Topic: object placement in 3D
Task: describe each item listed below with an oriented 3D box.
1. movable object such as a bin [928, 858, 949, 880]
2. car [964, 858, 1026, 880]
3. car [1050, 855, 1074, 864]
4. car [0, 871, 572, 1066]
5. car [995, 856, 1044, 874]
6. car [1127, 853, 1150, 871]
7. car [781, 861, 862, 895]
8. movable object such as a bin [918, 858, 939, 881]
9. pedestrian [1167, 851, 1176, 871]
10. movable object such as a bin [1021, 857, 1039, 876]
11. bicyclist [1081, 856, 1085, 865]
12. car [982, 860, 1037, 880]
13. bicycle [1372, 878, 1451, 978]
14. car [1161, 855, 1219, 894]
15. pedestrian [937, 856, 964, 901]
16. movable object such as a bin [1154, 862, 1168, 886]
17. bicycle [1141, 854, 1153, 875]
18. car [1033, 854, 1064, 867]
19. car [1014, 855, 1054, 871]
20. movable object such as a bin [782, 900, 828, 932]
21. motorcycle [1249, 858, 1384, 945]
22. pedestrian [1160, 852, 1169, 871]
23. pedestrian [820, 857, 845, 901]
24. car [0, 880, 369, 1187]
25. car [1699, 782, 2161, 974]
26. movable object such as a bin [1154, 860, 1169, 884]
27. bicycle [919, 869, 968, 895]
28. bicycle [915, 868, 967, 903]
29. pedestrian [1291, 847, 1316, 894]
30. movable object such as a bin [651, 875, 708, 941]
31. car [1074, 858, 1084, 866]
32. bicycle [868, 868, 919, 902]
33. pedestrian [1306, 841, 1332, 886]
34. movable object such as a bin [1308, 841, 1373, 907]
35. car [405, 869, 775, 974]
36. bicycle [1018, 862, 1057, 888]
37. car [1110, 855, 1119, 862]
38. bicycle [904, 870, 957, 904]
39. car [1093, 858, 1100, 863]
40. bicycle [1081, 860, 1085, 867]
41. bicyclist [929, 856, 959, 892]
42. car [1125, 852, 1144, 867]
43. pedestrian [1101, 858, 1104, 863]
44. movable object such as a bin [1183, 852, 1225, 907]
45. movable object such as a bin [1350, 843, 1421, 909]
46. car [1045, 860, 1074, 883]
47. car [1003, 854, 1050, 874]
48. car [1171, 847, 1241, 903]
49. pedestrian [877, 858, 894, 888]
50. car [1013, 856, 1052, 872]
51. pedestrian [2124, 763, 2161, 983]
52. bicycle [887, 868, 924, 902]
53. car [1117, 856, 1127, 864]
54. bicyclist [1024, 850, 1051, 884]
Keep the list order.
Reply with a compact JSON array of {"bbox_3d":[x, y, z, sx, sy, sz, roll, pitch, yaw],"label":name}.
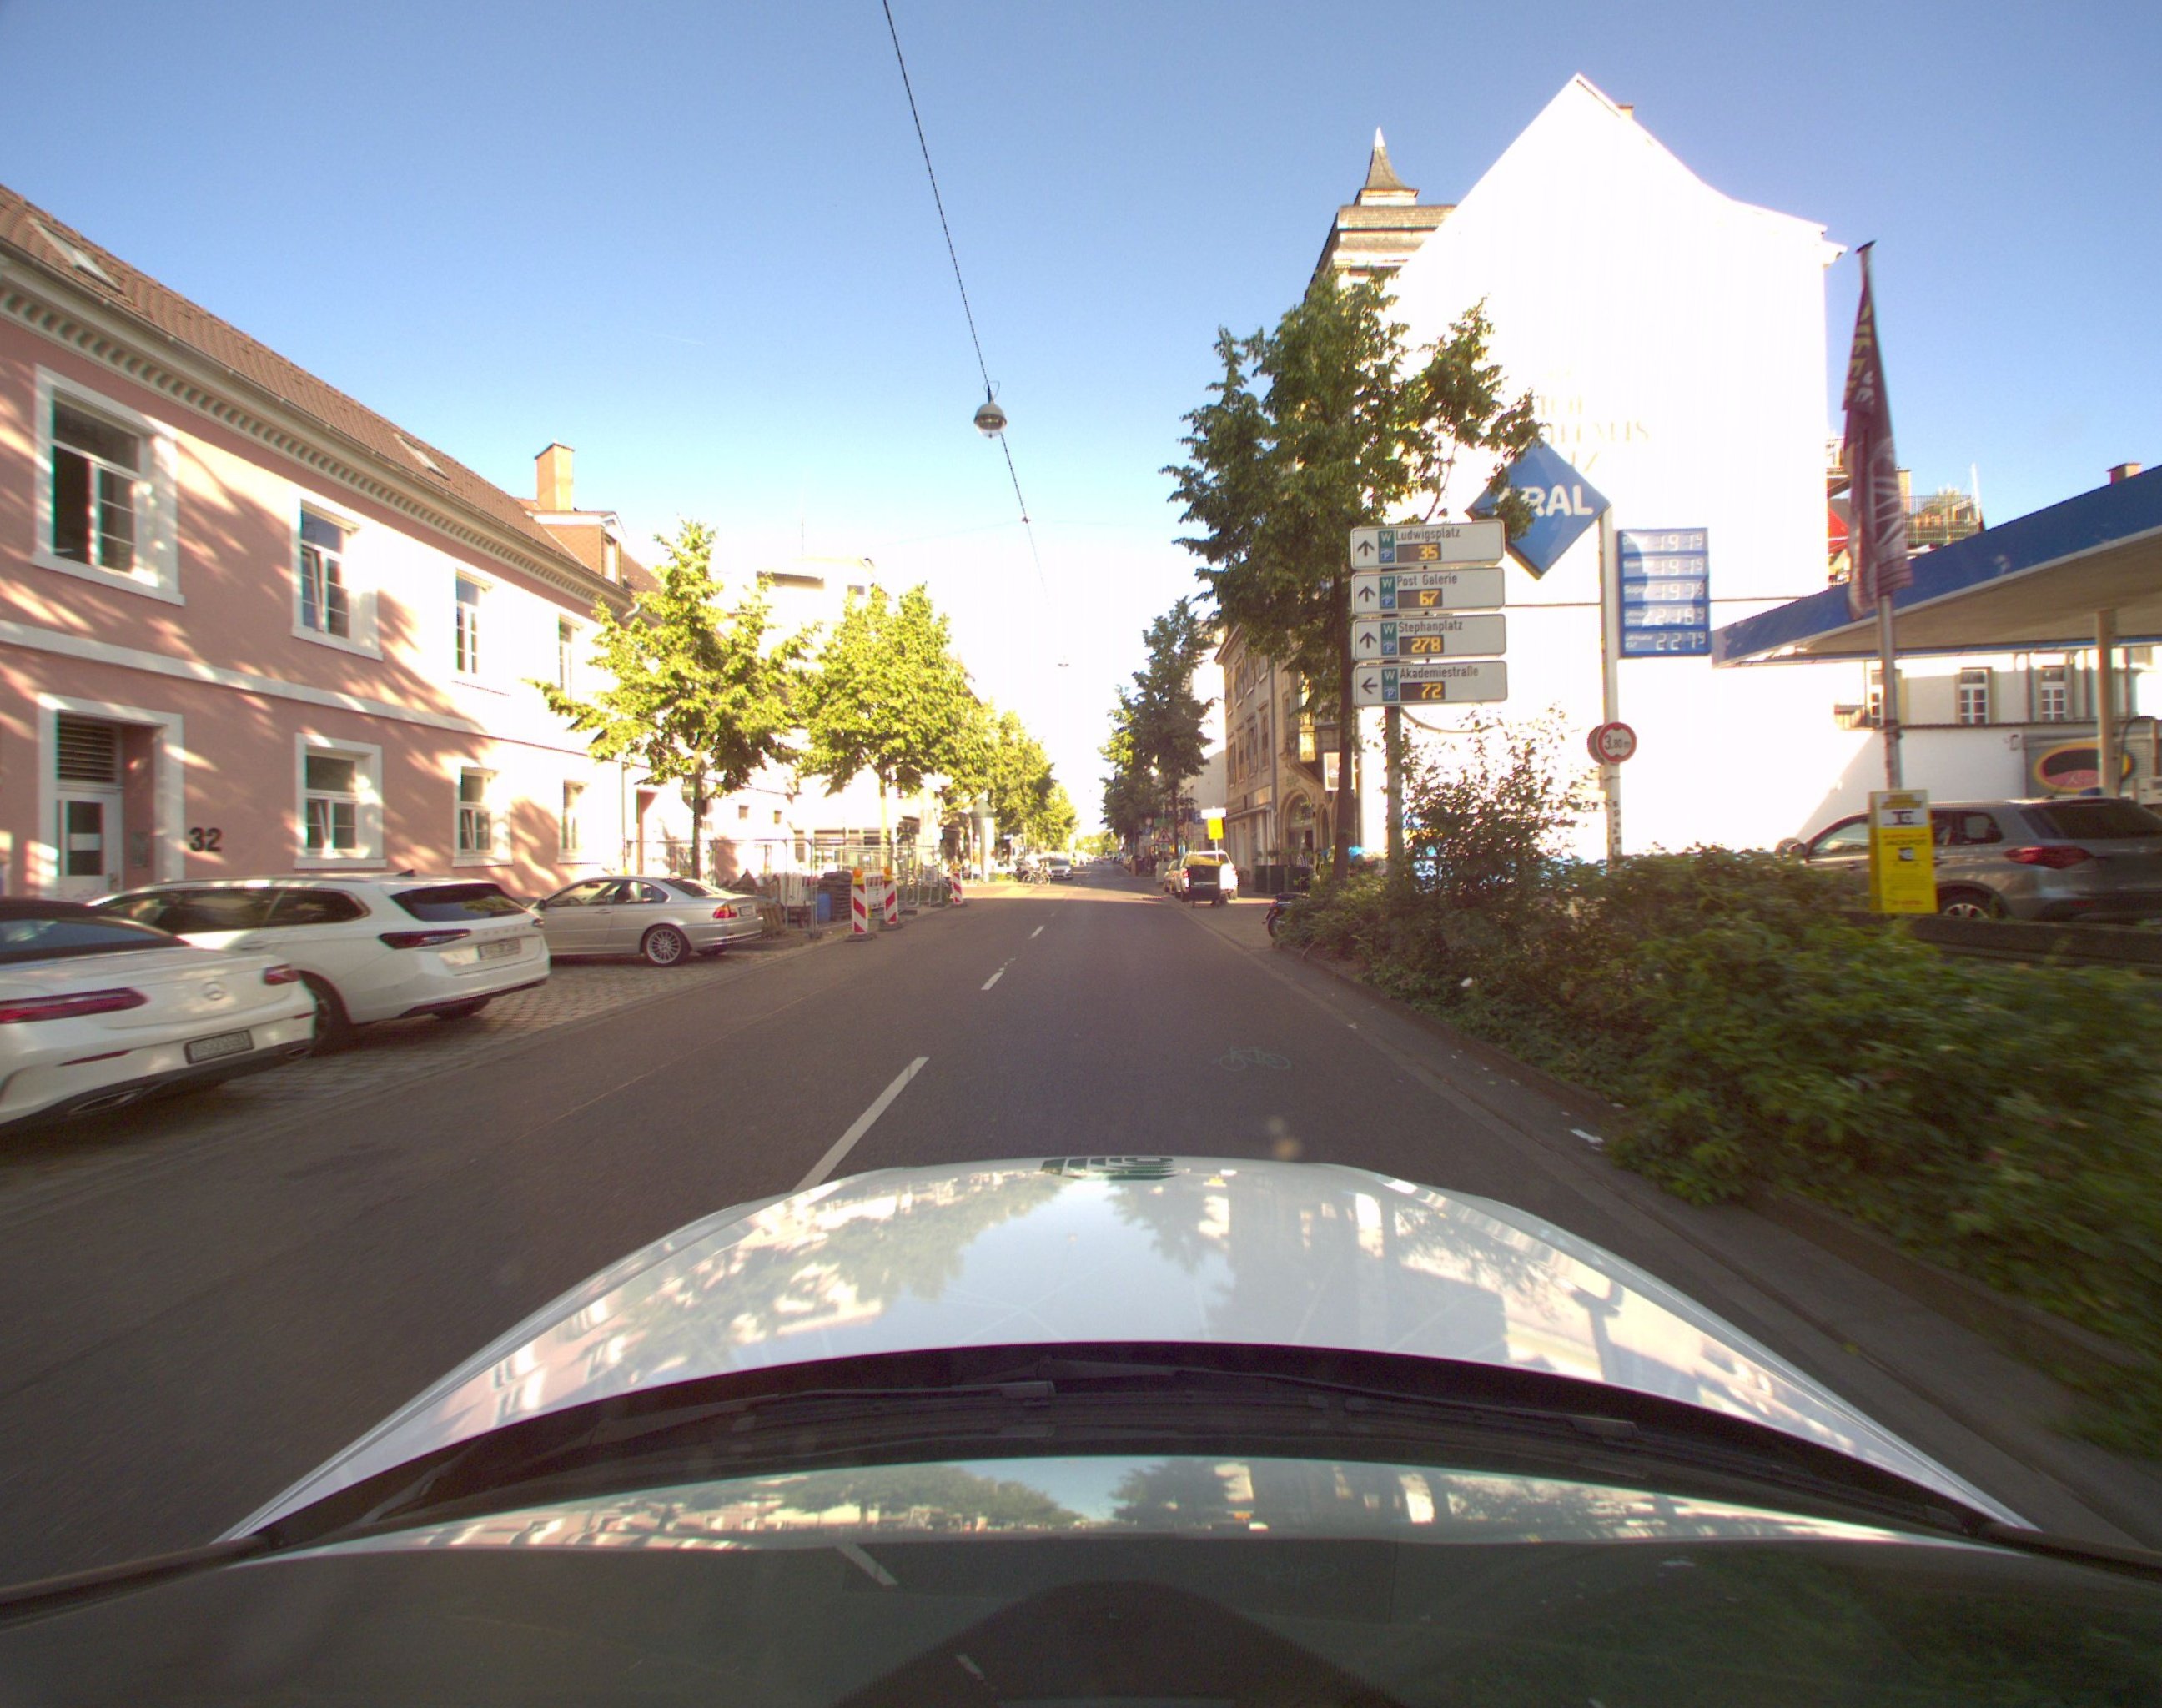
[{"bbox_3d":[-10.029,1.062,57.348,1.168,1.485,1.314,-2,0,-1],"label":"movable object such as a bin"},{"bbox_3d":[-5.948,1.028,56.619,3.974,1.390,2.000,-2,0,0],"label":"car"},{"bbox_3d":[-3.318,0.945,143.047,3.974,1.500,2.000,-2,0,0],"label":"car"},{"bbox_3d":[-7.590,0.945,7.438,4.668,1.465,1.807,-1,0,-2],"label":"car"},{"bbox_3d":[-5.463,0.992,72.519,3.967,1.457,1.871,-2,0,6],"label":"car"},{"bbox_3d":[5.628,0.787,80.010,1.986,1.609,4.001,-2,0,1],"label":"car"},{"bbox_3d":[-13.920,1.259,43.710,4.000,1.610,1.987,-2,0,-20],"label":"car"},{"bbox_3d":[-10.127,1.042,54.262,1.136,1.485,1.235,-2,0,-1],"label":"movable object such as a bin"},{"bbox_3d":[7.635,0.556,68.741,0.546,1.649,0.663,-2,0,-8],"label":"pedestrian"},{"bbox_3d":[-4.321,1.058,69.060,1.330,1.478,1.480,-2,0,1],"label":"movable object such as a bin"},{"bbox_3d":[0.342,1.181,145.053,0.558,1.548,0.728,-1,-1,1],"label":"bicyclist"},{"bbox_3d":[-5.442,1.194,62.400,3.974,1.390,2.000,-2,0,0],"label":"car"},{"bbox_3d":[3.906,0.823,9.555,0.431,0.988,1.682,-3,0,36],"label":"bicycle"},{"bbox_3d":[4.450,0.813,33.815,1.816,1.391,4.301,-4,0,1],"label":"car"},{"bbox_3d":[-4.997,0.916,31.115,0.797,1.707,0.759,0,0,-32],"label":"pedestrian"},{"bbox_3d":[4.204,1.052,42.882,0.657,1.180,0.739,-2,0,-1],"label":"movable object such as a bin"},{"bbox_3d":[4.893,0.773,60.347,0.558,1.441,1.629,-8,0,1],"label":"bicycle"},{"bbox_3d":[-4.366,0.858,108.855,3.974,1.500,2.000,-2,0,0],"label":"car"},{"bbox_3d":[-4.818,0.905,84.130,3.974,1.500,2.000,-2,0,0],"label":"car"},{"bbox_3d":[-6.218,1.377,18.368,0.625,0.616,1.077,-2,0,1],"label":"movable object such as a bin"},{"bbox_3d":[3.981,0.773,13.841,1.978,1.330,0.908,-2,0,-11],"label":"motorcycle"},{"bbox_3d":[7.015,0.632,68.619,0.546,1.649,0.663,-2,0,-7],"label":"pedestrian"},{"bbox_3d":[-9.602,0.969,31.489,0.608,1.653,0.814,-2,0,4],"label":"pedestrian"},{"bbox_3d":[-7.449,0.959,4.873,4.668,1.465,1.807,-1,0,-2],"label":"car"},{"bbox_3d":[9.569,0.193,9.279,1.893,1.648,4.297,-2,0,3],"label":"car"},{"bbox_3d":[4.160,0.921,42.141,0.703,1.222,0.680,-2,0,-1],"label":"movable object such as a bin"},{"bbox_3d":[-6.009,1.219,35.722,1.962,1.059,0.761,-2,0,-32],"label":"bicycle"},{"bbox_3d":[-5.227,1.158,30.442,1.852,1.252,0.599,-1,0,-6],"label":"bicycle"},{"bbox_3d":[7.448,0.546,27.247,0.608,1.540,0.699,-2,0,1],"label":"pedestrian"},{"bbox_3d":[-7.606,1.006,15.462,0.730,1.186,0.744,-2,0,-8],"label":"movable object such as a bin"},{"bbox_3d":[-0.325,1.534,161.290,1.816,1.391,4.301,-4,0,1],"label":"car"},{"bbox_3d":[-6.971,1.153,30.296,1.775,1.252,0.602,-1,0,12],"label":"bicycle"},{"bbox_3d":[8.696,0.345,29.749,0.694,1.566,0.612,-2,0,0],"label":"pedestrian"},{"bbox_3d":[6.847,0.509,21.563,1.202,1.627,1.498,-2,0,0],"label":"movable object such as a bin"},{"bbox_3d":[-7.519,1.002,12.845,4.668,1.412,1.807,-1,0,-2],"label":"car"},{"bbox_3d":[-2.274,1.085,42.485,2.047,1.220,0.712,-2,0,-45],"label":"bicycle"},{"bbox_3d":[7.396,0.997,180.925,1.986,1.508,4.001,-1,-1,1],"label":"car"},{"bbox_3d":[-5.476,1.194,29.773,1.852,1.170,0.599,-1,0,-6],"label":"bicycle"},{"bbox_3d":[4.374,1.763,224.140,1.786,1.411,4.001,-2,0,1],"label":"car"},{"bbox_3d":[0.360,1.661,145.030,0.558,1.180,1.629,-1,-1,1],"label":"bicycle"},{"bbox_3d":[-5.999,0.869,35.722,1.044,1.560,0.761,-2,0,-32],"label":"bicyclist"},{"bbox_3d":[6.088,0.621,93.383,1.986,1.609,4.001,-2,0,1],"label":"car"},{"bbox_3d":[4.125,1.221,156.338,0.544,1.026,0.546,-2,0,-1],"label":"pedestrian"},{"bbox_3d":[3.687,0.734,24.279,1.135,1.562,1.463,-2,0,10],"label":"movable object such as a bin"},{"bbox_3d":[7.512,0.534,20.182,1.266,1.530,1.176,-2,0,0],"label":"movable object such as a bin"},{"bbox_3d":[-1.482,1.185,57.231,1.796,1.435,4.409,-4,0,1],"label":"car"},{"bbox_3d":[-5.028,0.938,75.312,3.967,1.694,2.003,-2,0,6],"label":"car"},{"bbox_3d":[4.275,0.668,28.496,1.815,1.679,4.603,-4,0,2],"label":"car"},{"bbox_3d":[-10.867,1.069,45.308,0.770,1.643,0.688,-2,0,-6],"label":"pedestrian"},{"bbox_3d":[-5.143,1.077,86.490,3.974,1.500,2.000,-2,-1,0],"label":"car"},{"bbox_3d":[9.446,0.151,6.764,0.687,1.850,0.706,-2,0,-15],"label":"pedestrian"},{"bbox_3d":[-6.761,1.163,31.393,0.603,1.252,1.772,0,0,-41],"label":"bicycle"},{"bbox_3d":[8.119,1.122,161.377,1.986,1.508,4.001,-1,-1,1],"label":"car"},{"bbox_3d":[-2.278,0.680,42.492,1.164,1.693,0.712,-2,0,-44],"label":"bicyclist"}]
